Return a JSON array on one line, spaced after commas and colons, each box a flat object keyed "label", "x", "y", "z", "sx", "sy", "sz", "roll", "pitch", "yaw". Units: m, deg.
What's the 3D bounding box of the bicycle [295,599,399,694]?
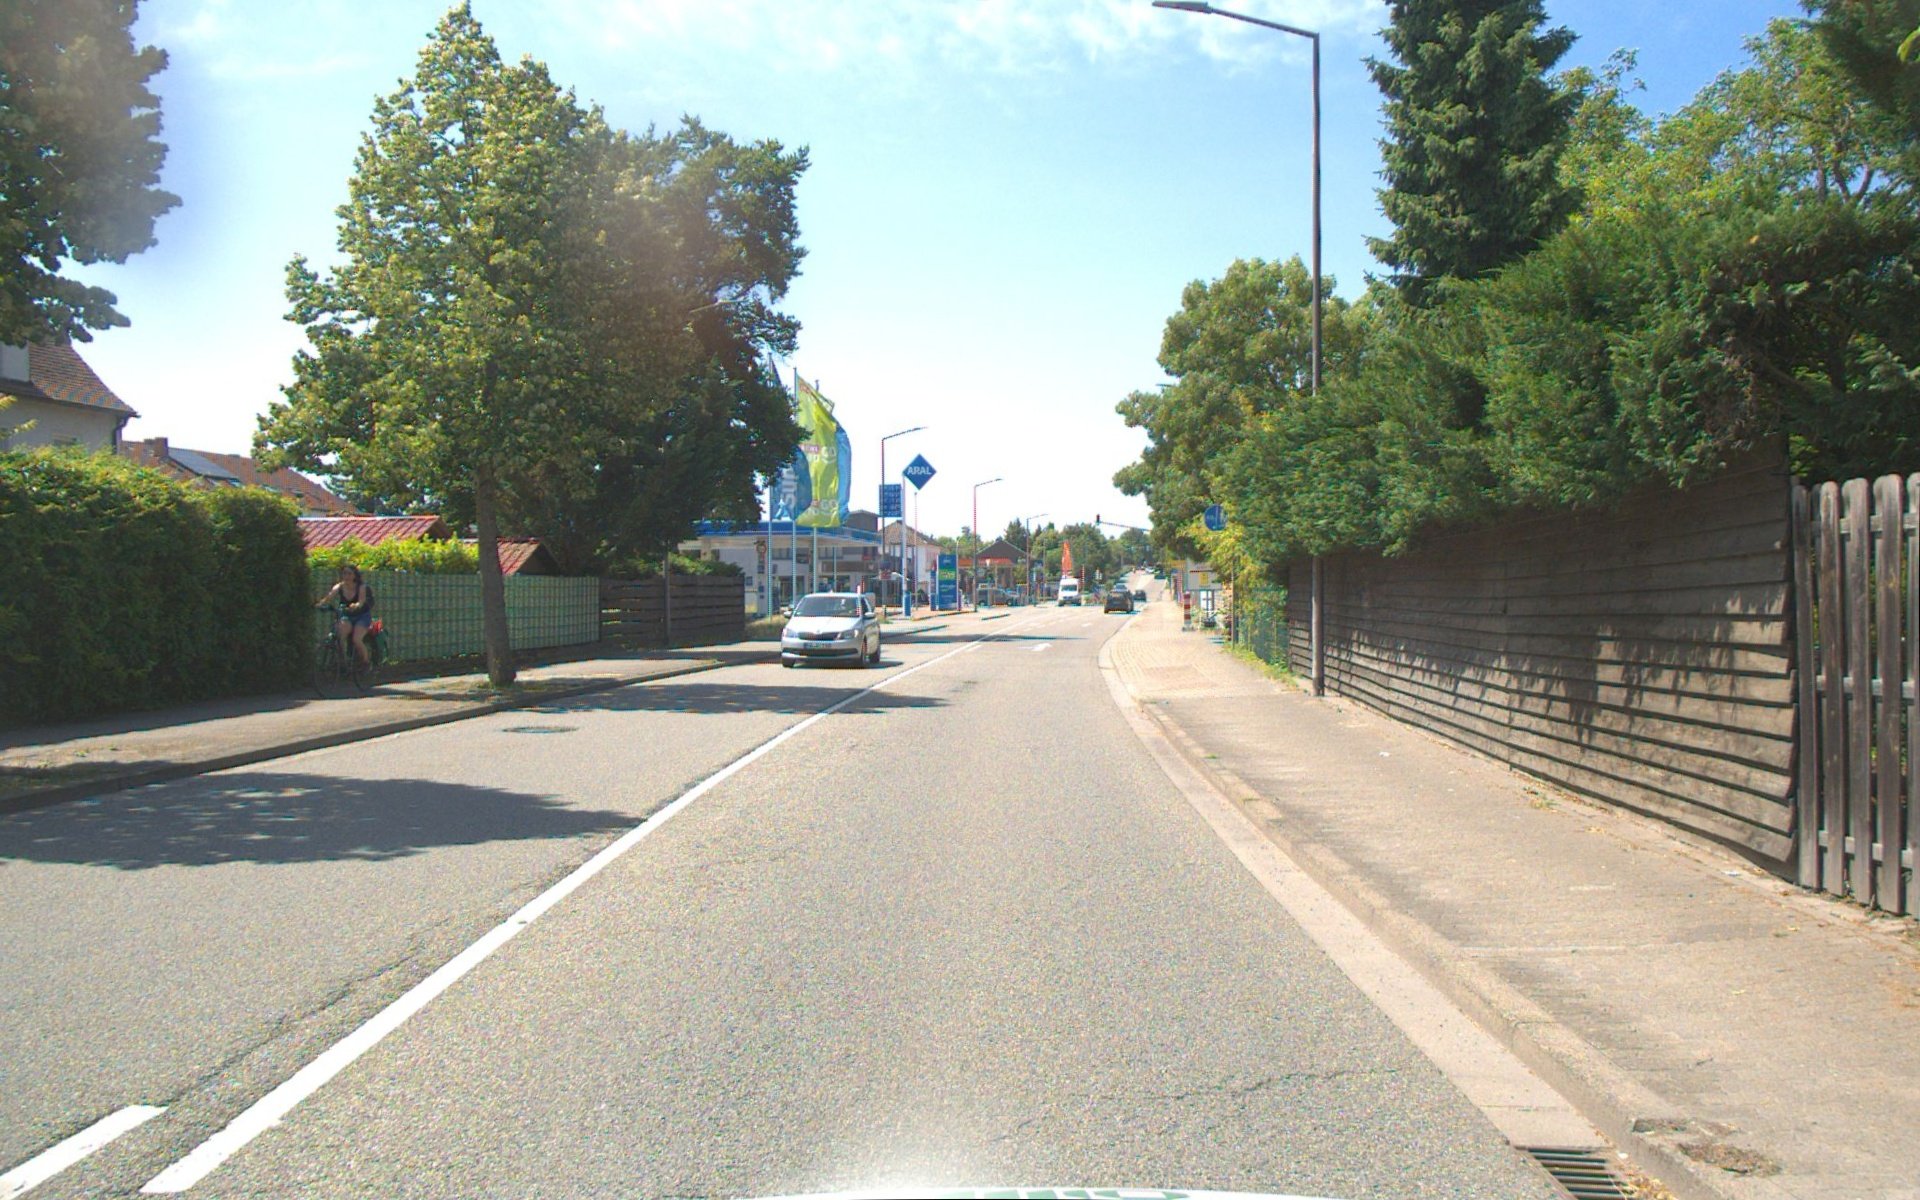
[{"label": "bicycle", "x": -8.138, "y": 0.593, "z": 22.046, "sx": 0.619, "sy": 1.200, "sz": 1.816, "roll": -1, "pitch": 0, "yaw": 3}]

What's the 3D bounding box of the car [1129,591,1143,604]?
[{"label": "car", "x": 21.064, "y": -0.314, "z": 198.236, "sx": 1.630, "sy": 1.481, "sz": 3.475, "roll": -1, "pitch": 0, "yaw": 7}]

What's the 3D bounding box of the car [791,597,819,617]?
[{"label": "car", "x": -11.951, "y": 0.547, "z": 127.917, "sx": 1.583, "sy": 1.445, "sz": 3.713, "roll": -2, "pitch": 0, "yaw": 3}]

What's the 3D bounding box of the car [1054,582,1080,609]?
[{"label": "car", "x": 10.367, "y": -0.387, "z": 160.466, "sx": 1.951, "sy": 2.465, "sz": 5.952, "roll": 1, "pitch": -1, "yaw": 9}]

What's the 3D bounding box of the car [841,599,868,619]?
[{"label": "car", "x": -8.155, "y": 0.707, "z": 128.194, "sx": 1.583, "sy": 1.445, "sz": 3.713, "roll": -2, "pitch": 0, "yaw": 3}]

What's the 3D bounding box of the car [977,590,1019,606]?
[{"label": "car", "x": 3.670, "y": -0.208, "z": 157.877, "sx": 3.903, "sy": 1.534, "sz": 1.555, "roll": -1, "pitch": 0, "yaw": 4}]

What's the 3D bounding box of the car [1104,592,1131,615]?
[{"label": "car", "x": 10.274, "y": 0.205, "z": 107.950, "sx": 1.630, "sy": 1.481, "sz": 3.475, "roll": -1, "pitch": 0, "yaw": 7}]

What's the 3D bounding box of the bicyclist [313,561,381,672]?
[{"label": "bicyclist", "x": -8.145, "y": 0.212, "z": 21.991, "sx": 0.615, "sy": 1.433, "sz": 0.677, "roll": -1, "pitch": 0, "yaw": 3}]

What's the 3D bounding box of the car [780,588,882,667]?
[{"label": "car", "x": -2.570, "y": 0.521, "z": 33.598, "sx": 1.578, "sy": 1.508, "sz": 3.709, "roll": 0, "pitch": 0, "yaw": 3}]
